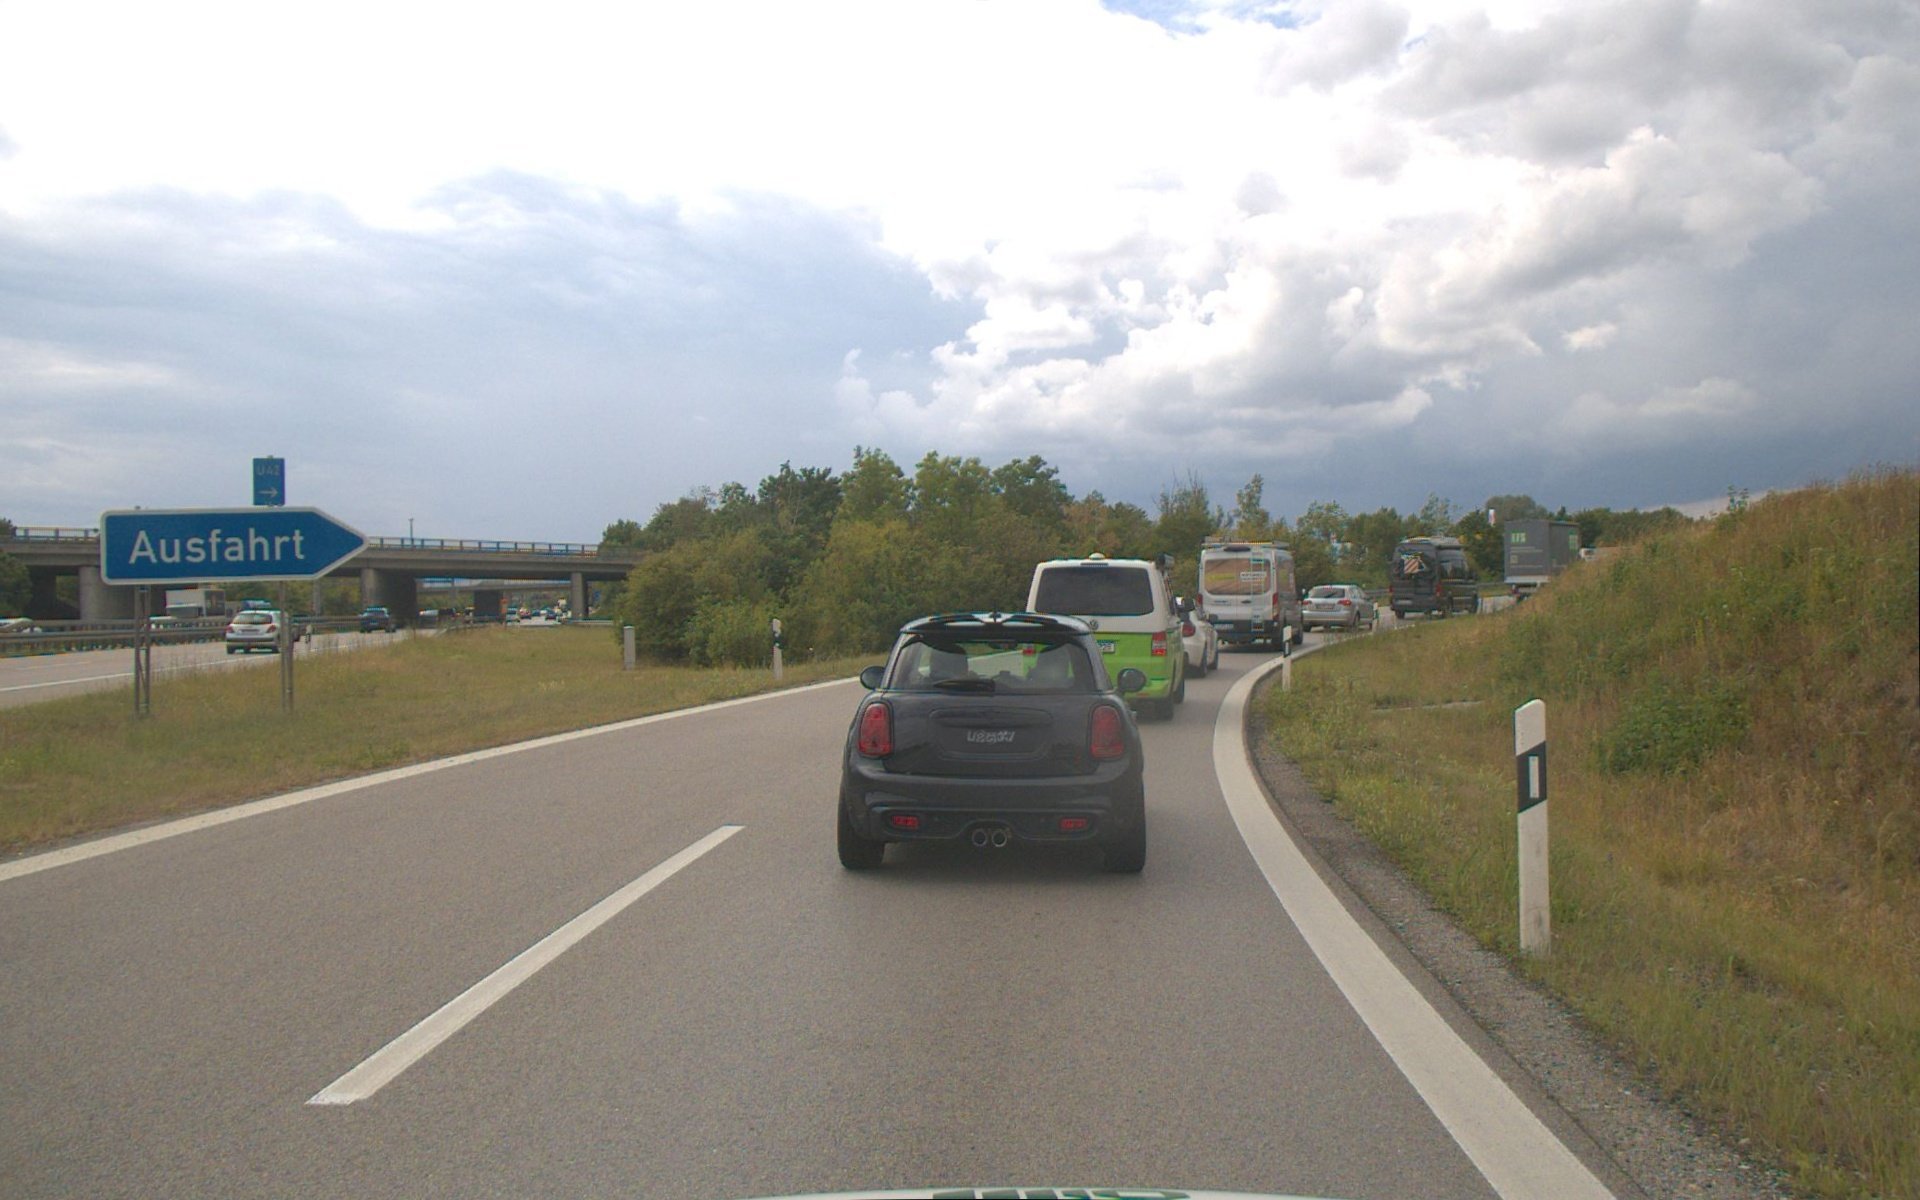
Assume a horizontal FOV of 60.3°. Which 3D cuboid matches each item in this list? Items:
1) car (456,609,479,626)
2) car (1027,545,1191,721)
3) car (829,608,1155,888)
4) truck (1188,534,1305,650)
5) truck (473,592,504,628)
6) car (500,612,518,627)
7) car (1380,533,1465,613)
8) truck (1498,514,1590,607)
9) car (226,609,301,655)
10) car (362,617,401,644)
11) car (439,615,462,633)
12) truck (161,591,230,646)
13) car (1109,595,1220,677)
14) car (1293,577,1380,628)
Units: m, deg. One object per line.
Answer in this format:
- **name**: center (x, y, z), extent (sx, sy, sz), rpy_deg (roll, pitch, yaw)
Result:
- **car**: center (-53.582, 1.907, 179.969), extent (1.958, 1.842, 3.988), rpy_deg (-1, 0, -12)
- **car**: center (2.016, 0.397, 21.389), extent (1.746, 2.049, 4.003), rpy_deg (0, 0, 10)
- **car**: center (0.271, 0.778, 10.468), extent (1.691, 1.438, 3.726), rpy_deg (0, 0, 3)
- **truck**: center (7.251, -0.209, 41.400), extent (2.133, 2.705, 5.111), rpy_deg (-1, 0, 19)
- **truck**: center (-46.017, 1.008, 161.557), extent (2.424, 3.430, 7.898), rpy_deg (-1, -1, -12)
- **car**: center (-55.552, 2.372, 203.840), extent (1.843, 1.782, 4.474), rpy_deg (-1, 0, -11)
- **car**: center (17.103, -0.968, 61.070), extent (2.066, 2.845, 3.992), rpy_deg (1, 0, 30)
- **truck**: center (26.997, -1.742, 76.326), extent (2.193, 3.975, 5.988), rpy_deg (0, -2, 38)
- **car**: center (-24.547, 1.097, 58.406), extent (1.687, 1.545, 3.987), rpy_deg (-1, 0, -12)
- **car**: center (-40.204, 2.104, 114.995), extent (1.959, 1.774, 4.814), rpy_deg (-1, 0, -12)
- **car**: center (-49.911, 2.339, 162.046), extent (1.813, 1.789, 4.322), rpy_deg (0, 0, -13)
- **truck**: center (-54.453, 1.310, 118.004), extent (2.710, 3.710, 8.171), rpy_deg (0, 0, -12)
- **car**: center (3.835, 0.642, 30.557), extent (1.724, 1.423, 3.728), rpy_deg (-1, 0, 12)
- **car**: center (11.892, 0.088, 52.119), extent (1.829, 1.536, 3.996), rpy_deg (0, 0, 26)
